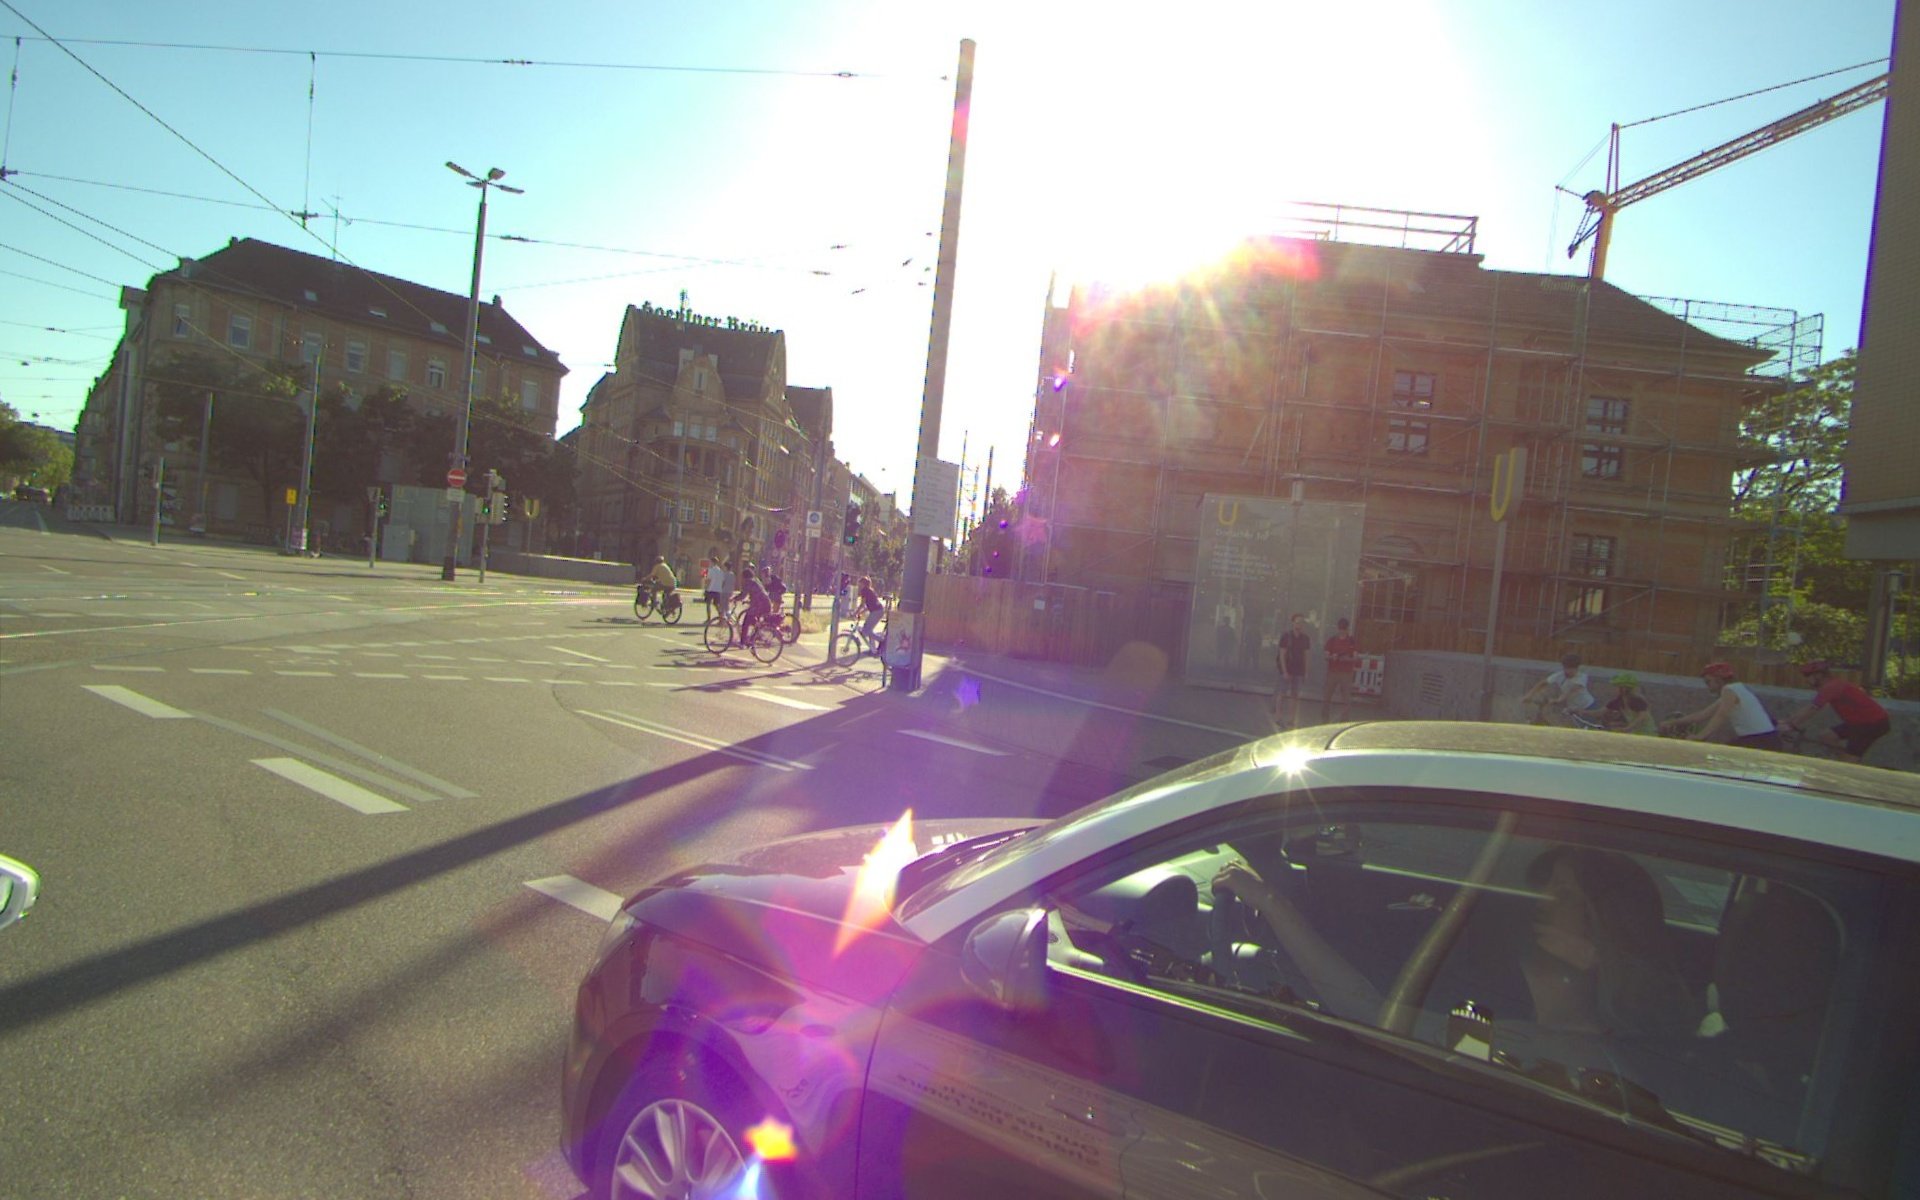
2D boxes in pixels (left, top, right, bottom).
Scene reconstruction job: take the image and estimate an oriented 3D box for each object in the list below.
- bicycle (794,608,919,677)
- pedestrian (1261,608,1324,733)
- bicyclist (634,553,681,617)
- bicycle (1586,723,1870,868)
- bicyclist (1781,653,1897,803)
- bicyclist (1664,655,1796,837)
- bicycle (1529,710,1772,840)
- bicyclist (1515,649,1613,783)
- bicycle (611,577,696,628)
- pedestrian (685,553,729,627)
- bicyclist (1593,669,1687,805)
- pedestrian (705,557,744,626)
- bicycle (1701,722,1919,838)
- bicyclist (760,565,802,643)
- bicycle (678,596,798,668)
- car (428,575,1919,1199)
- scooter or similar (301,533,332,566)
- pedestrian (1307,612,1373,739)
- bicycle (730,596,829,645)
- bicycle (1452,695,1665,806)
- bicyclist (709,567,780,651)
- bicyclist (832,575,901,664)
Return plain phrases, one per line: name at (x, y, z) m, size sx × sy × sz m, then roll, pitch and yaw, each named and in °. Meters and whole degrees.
bicycle at (-2.001, 0.818, 19.338) m, size 2.279 × 1.062 × 0.701 m, roll 6°, pitch -1°, yaw 25°
pedestrian at (5.130, 1.074, 15.570) m, size 0.672 × 1.831 × 0.671 m, roll 6°, pitch 2°, yaw 13°
bicyclist at (-7.953, -0.387, 26.439) m, size 0.930 × 1.575 × 0.516 m, roll 6°, pitch -1°, yaw 26°
bicycle at (7.231, 1.817, 9.618) m, size 2.000 × 0.975 × 0.659 m, roll 6°, pitch -1°, yaw 29°
bicyclist at (10.125, 1.461, 11.626) m, size 0.859 × 1.579 × 0.615 m, roll 6°, pitch -1°, yaw 39°
bicyclist at (7.316, 1.362, 9.597) m, size 0.781 × 1.572 × 0.667 m, roll 6°, pitch -1°, yaw 29°
bicycle at (7.296, 1.824, 10.769) m, size 2.000 × 0.976 × 0.658 m, roll 6°, pitch 2°, yaw 29°
bicyclist at (7.181, 1.359, 11.987) m, size 0.661 × 1.471 × 0.618 m, roll 6°, pitch -1°, yaw 4°
bicycle at (-8.079, 0.061, 26.484) m, size 2.279 × 1.062 × 0.536 m, roll 7°, pitch 0°, yaw 25°
pedestrian at (-7.272, -0.282, 28.952) m, size 0.748 × 2.038 × 0.733 m, roll 6°, pitch -1°, yaw 26°
bicyclist at (7.274, 1.445, 10.792) m, size 0.662 × 1.331 × 0.617 m, roll 6°, pitch -1°, yaw 29°
pedestrian at (-6.921, -0.252, 29.604) m, size 0.678 × 1.945 × 0.648 m, roll 6°, pitch -1°, yaw 26°
bicycle at (9.948, 2.058, 11.731) m, size 2.006 × 0.975 × 0.657 m, roll 5°, pitch 1°, yaw 39°
bicyclist at (-4.399, 0.101, 24.737) m, size 0.781 × 1.800 × 0.523 m, roll 6°, pitch -1°, yaw -6°
bicycle at (-4.222, 0.601, 19.071) m, size 2.282 × 1.062 × 0.700 m, roll 7°, pitch 0°, yaw 32°
car at (1.002, 0.876, 1.733) m, size 3.936 × 1.421 × 1.625 m, roll 5°, pitch -2°, yaw 33°
scooter or similar at (-29.351, -2.309, 45.856) m, size 0.783 × 1.392 × 1.886 m, roll 7°, pitch -1°, yaw -42°
pedestrian at (5.801, 1.145, 15.392) m, size 0.672 × 1.829 × 0.672 m, roll 6°, pitch -1°, yaw 13°
bicycle at (-4.429, 0.515, 24.744) m, size 2.287 × 1.063 × 0.533 m, roll 4°, pitch 3°, yaw -23°
bicycle at (7.094, 1.775, 12.000) m, size 1.996 × 0.976 × 0.660 m, roll 6°, pitch 3°, yaw 6°
bicyclist at (-4.066, 0.167, 18.990) m, size 0.931 × 1.456 × 0.709 m, roll 6°, pitch -1°, yaw 31°
bicyclist at (-1.788, 0.376, 19.235) m, size 0.930 × 1.575 × 0.710 m, roll 6°, pitch -1°, yaw 26°
